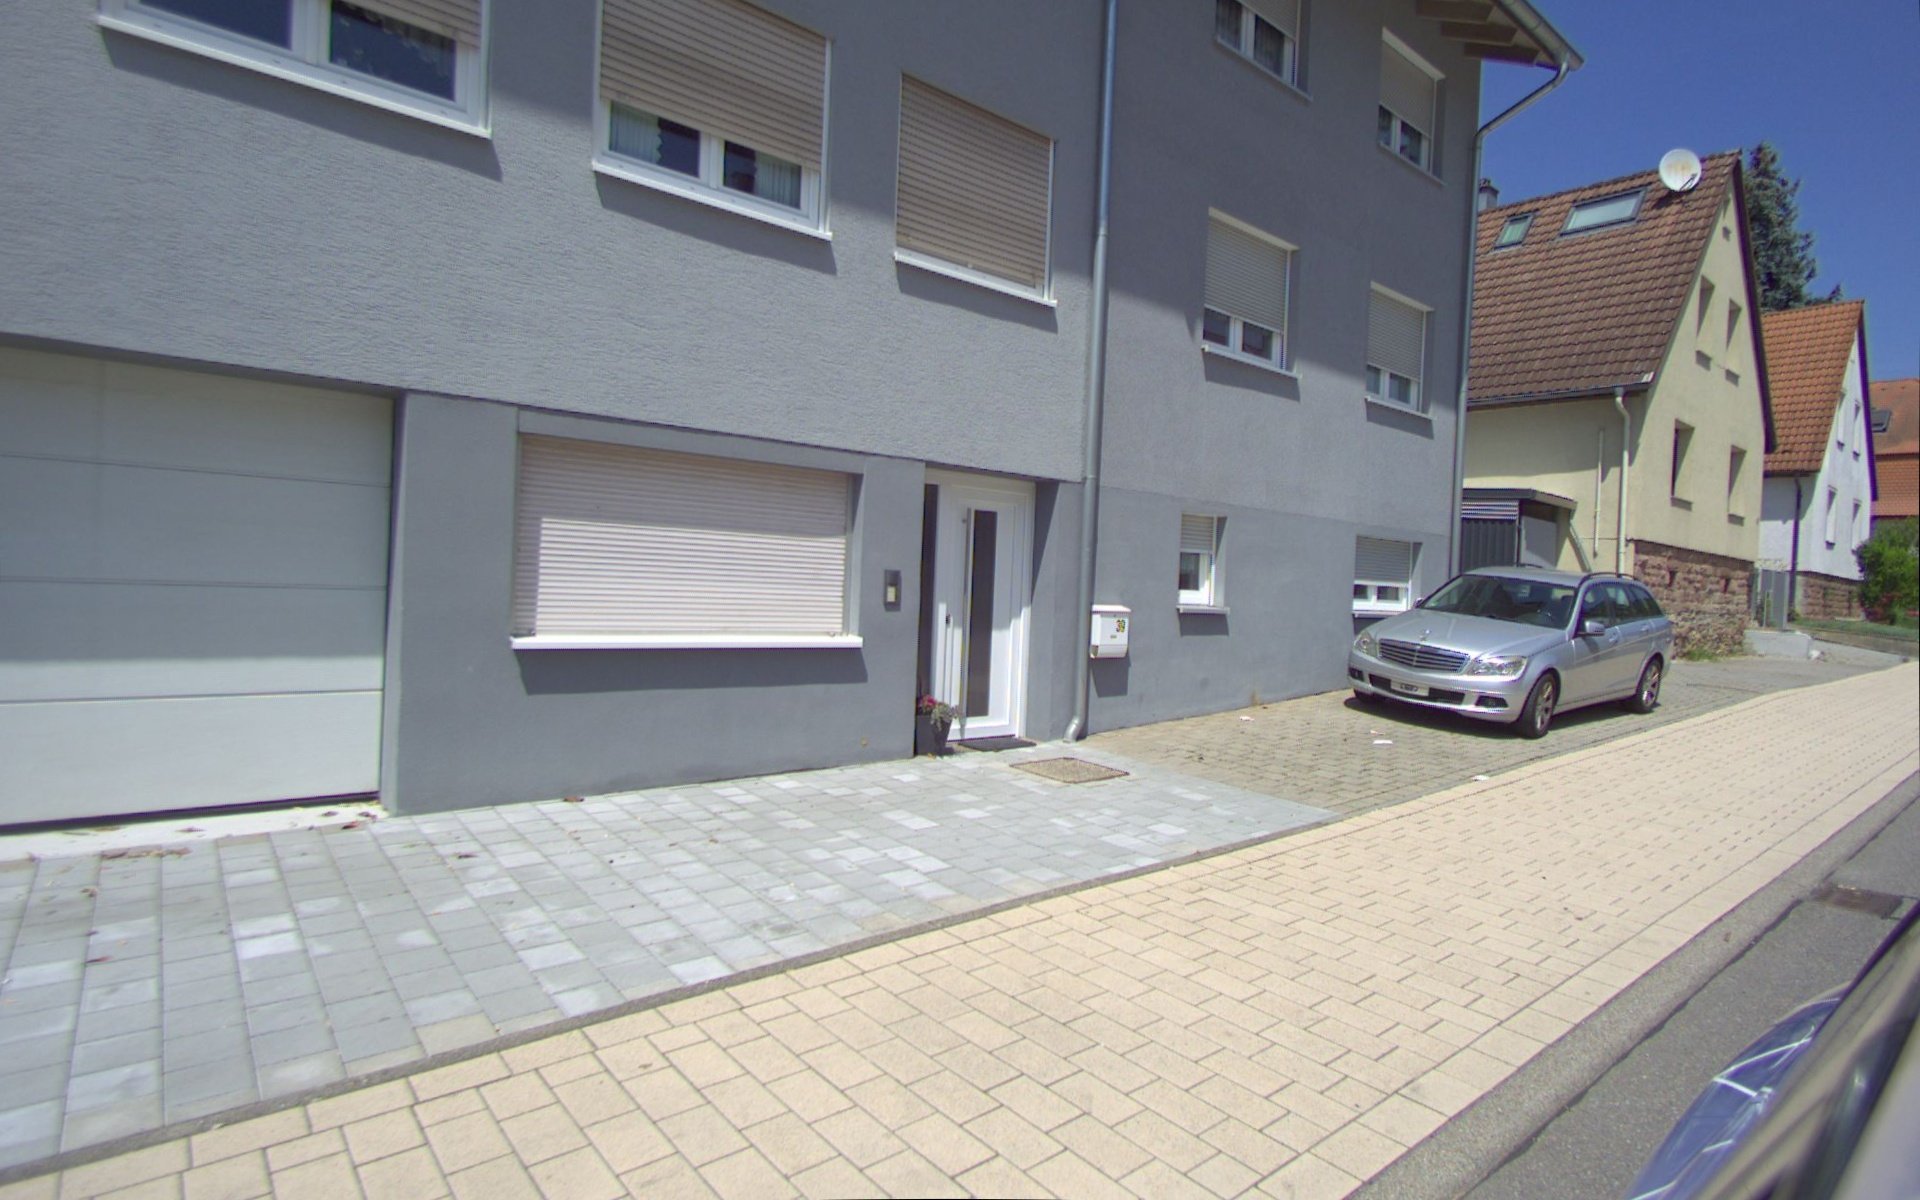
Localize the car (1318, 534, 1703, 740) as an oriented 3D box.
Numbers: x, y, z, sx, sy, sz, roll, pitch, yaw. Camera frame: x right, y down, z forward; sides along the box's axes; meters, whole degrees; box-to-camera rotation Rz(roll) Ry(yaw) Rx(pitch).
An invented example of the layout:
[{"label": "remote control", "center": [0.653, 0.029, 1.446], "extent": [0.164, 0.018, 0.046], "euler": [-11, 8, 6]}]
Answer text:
[{"label": "car", "center": [5.845, 0.245, 10.533], "extent": [4.427, 1.640, 1.869], "euler": [-1, 5, -39]}]
